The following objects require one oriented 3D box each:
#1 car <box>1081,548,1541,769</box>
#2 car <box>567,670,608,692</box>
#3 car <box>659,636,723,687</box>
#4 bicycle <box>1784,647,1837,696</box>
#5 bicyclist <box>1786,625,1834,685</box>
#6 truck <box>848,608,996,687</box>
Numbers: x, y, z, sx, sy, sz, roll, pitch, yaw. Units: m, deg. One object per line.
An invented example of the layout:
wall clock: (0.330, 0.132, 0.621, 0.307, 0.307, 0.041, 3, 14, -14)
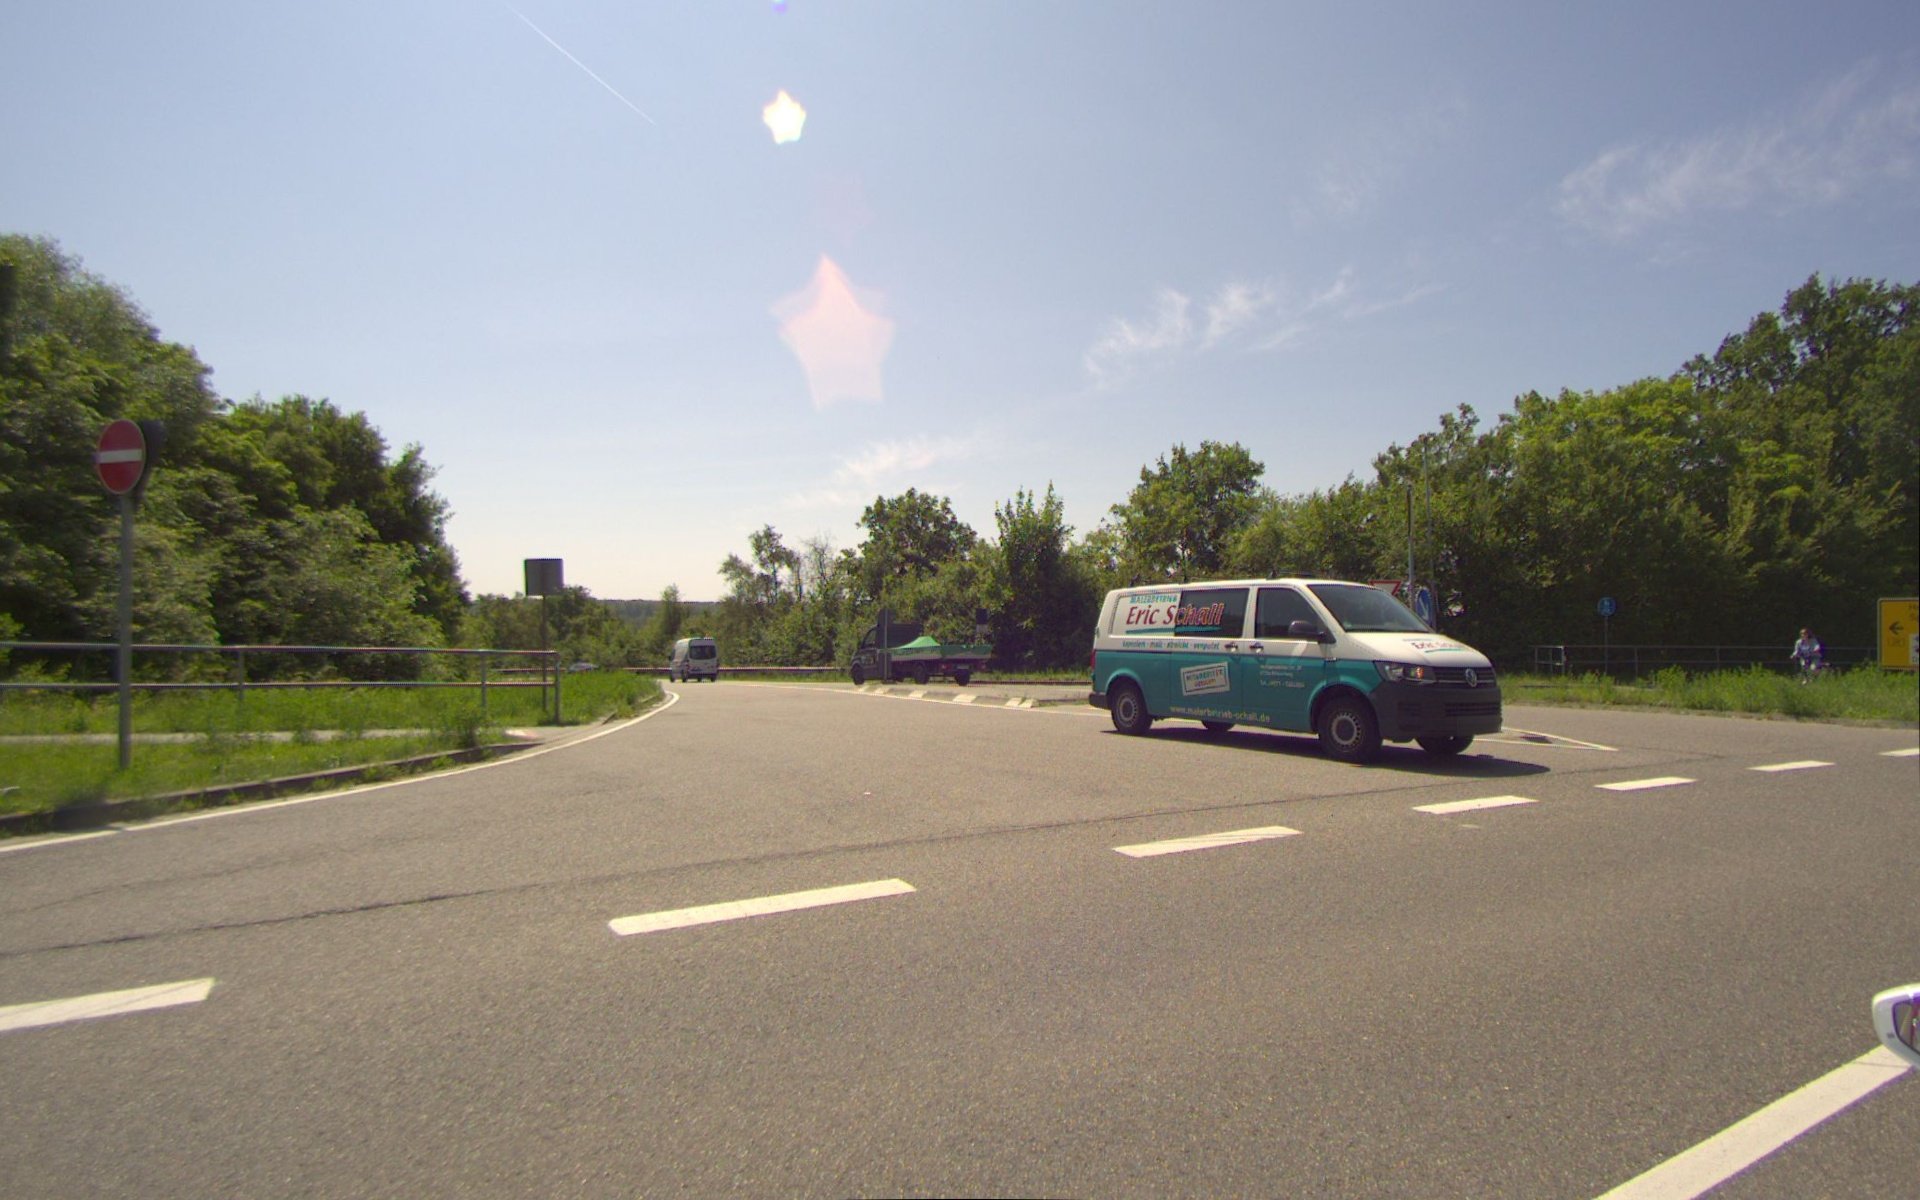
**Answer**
car: (3.832, 0.655, 12.081, 1.977, 2.054, 5.145, 1, -3, -31)
car: (-30.305, 6.593, 81.700, 1.667, 1.683, 3.948, 1, -5, -45)
car: (-16.407, 3.767, 61.027, 2.089, 2.886, 5.962, 2, -5, -32)
bicycle: (20.327, 1.701, 23.998, 1.462, 1.128, 0.434, 2, -1, -27)
bicyclist: (20.307, 1.310, 23.990, 0.601, 1.381, 0.685, 2, -1, -26)
truck: (-1.543, 1.821, 36.392, 2.125, 2.598, 6.576, 2, -5, -35)
